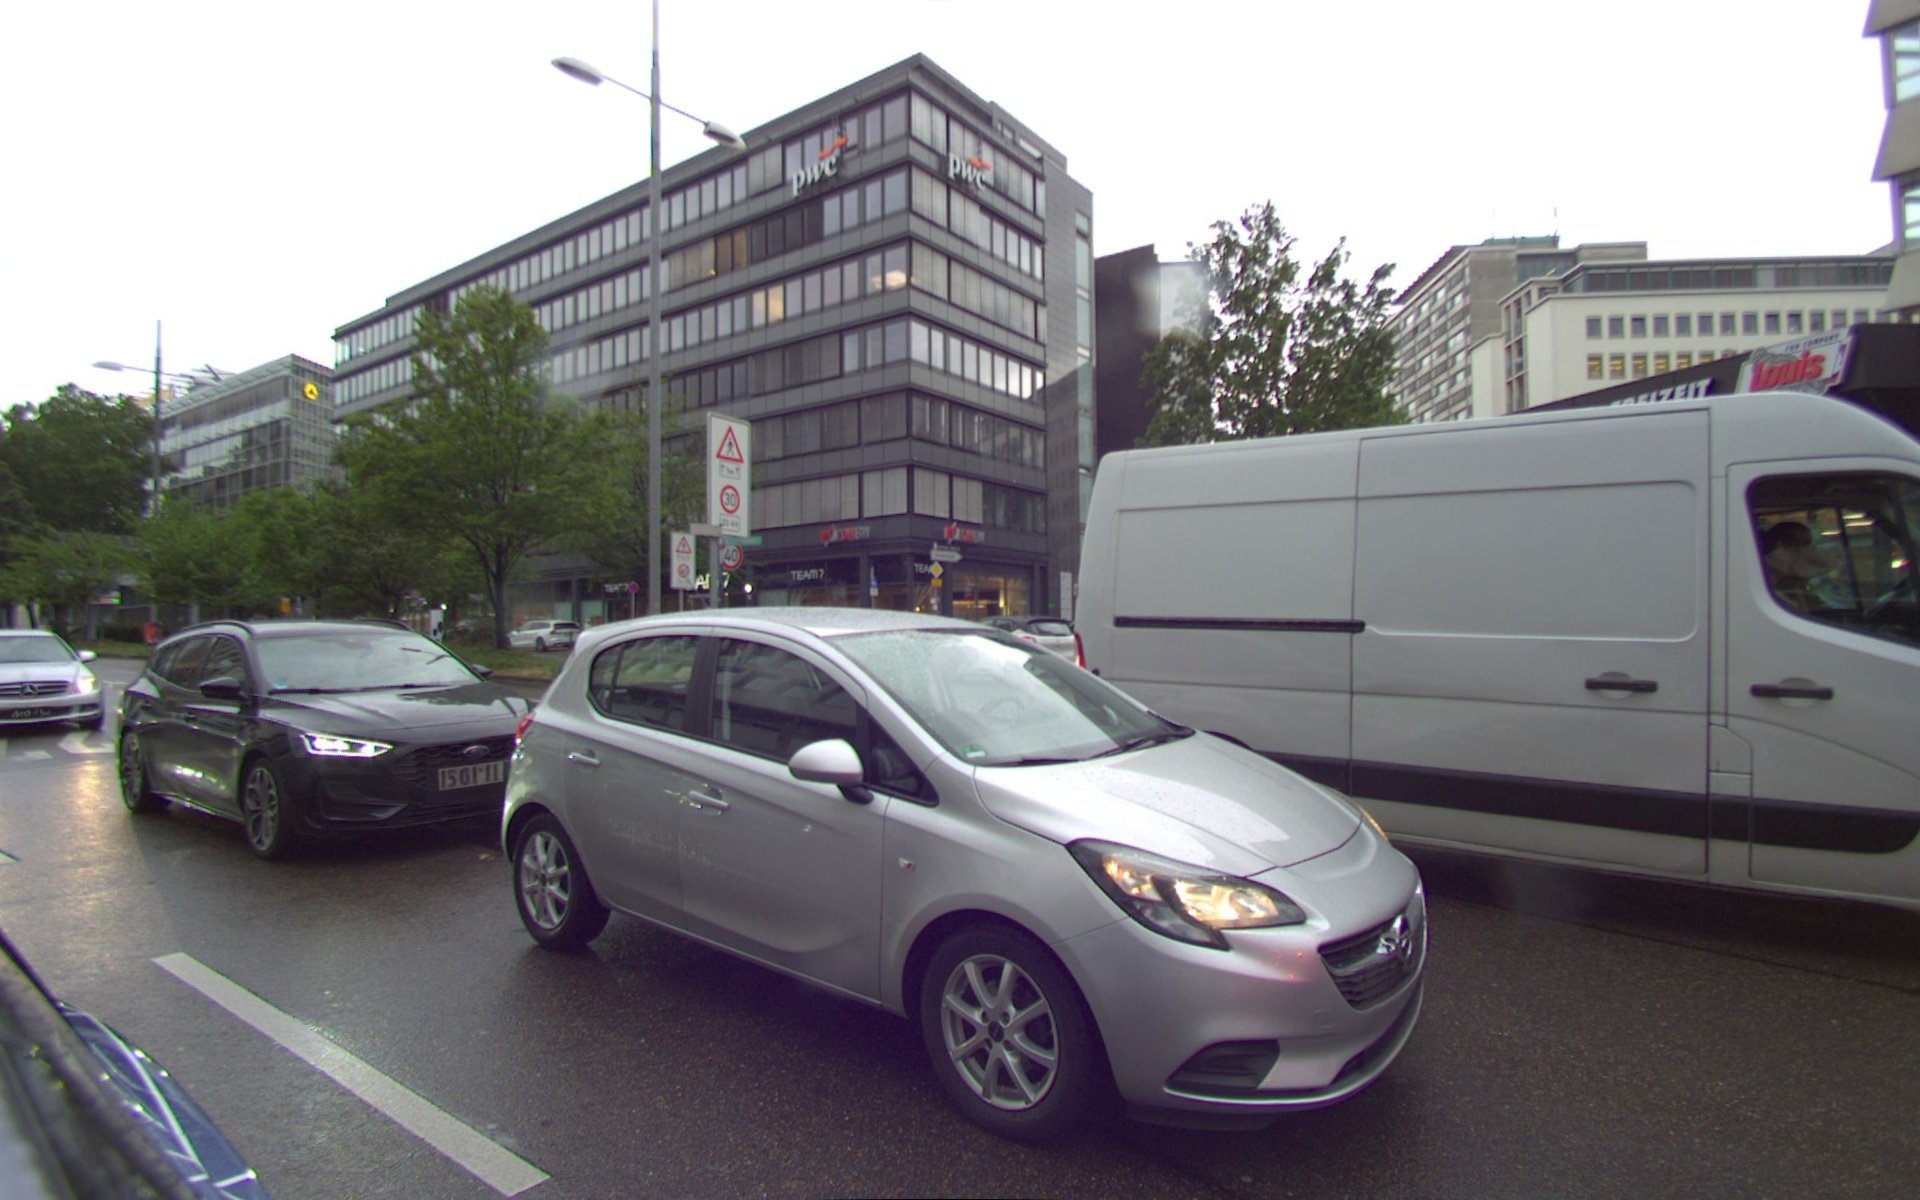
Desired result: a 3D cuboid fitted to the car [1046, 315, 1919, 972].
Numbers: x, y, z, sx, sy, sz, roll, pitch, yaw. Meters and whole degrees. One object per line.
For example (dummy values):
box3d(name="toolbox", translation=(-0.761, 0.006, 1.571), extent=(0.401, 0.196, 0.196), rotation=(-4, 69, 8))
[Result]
box3d(name="car", translation=(3.295, 0.183, 5.211), extent=(5.470, 2.459, 1.929), rotation=(-2, -1, 37))

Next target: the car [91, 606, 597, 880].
box3d(name="car", translation=(-4.603, 0.815, 7.345), extent=(4.087, 1.446, 1.755), rotation=(-2, -1, 37))

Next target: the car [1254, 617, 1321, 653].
box3d(name="car", translation=(15.580, 1.622, 48.040), extent=(1.847, 1.596, 3.716), rotation=(-2, -1, 37))

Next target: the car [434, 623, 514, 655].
box3d(name="car", translation=(-24.583, 1.960, 51.104), extent=(4.100, 1.518, 1.975), rotation=(-2, -1, 36))

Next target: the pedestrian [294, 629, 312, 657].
box3d(name="pedestrian", translation=(-47.386, 3.087, 73.003), extent=(0.539, 2.029, 0.917), rotation=(-2, -1, 39))

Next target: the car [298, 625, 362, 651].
box3d(name="car", translation=(-37.927, 2.280, 60.916), extent=(3.992, 1.518, 1.975), rotation=(-2, -1, 36))

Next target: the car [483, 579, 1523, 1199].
box3d(name="car", translation=(-0.153, 0.720, 3.966), extent=(3.872, 1.446, 1.631), rotation=(-2, -1, 40))

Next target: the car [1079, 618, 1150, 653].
box3d(name="car", translation=(7.590, 1.710, 49.469), extent=(1.847, 1.596, 3.716), rotation=(-2, -1, 37))

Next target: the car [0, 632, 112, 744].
box3d(name="car", translation=(-13.586, 1.176, 14.288), extent=(4.091, 1.391, 1.754), rotation=(-2, -1, 39))

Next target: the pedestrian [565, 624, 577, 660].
box3d(name="pedestrian", translation=(-22.397, 2.396, 58.256), extent=(0.296, 2.029, 0.534), rotation=(-2, -1, 35))

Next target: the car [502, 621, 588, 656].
box3d(name="car", translation=(-19.394, 1.778, 47.253), extent=(3.992, 1.518, 1.975), rotation=(-2, -1, 36))

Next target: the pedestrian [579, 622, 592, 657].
box3d(name="pedestrian", translation=(-22.241, 2.354, 60.081), extent=(0.460, 2.029, 0.568), rotation=(-2, -1, 36))

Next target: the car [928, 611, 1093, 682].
box3d(name="car", translation=(1.007, 0.979, 22.479), extent=(1.721, 1.383, 4.012), rotation=(-1, -1, -30))
